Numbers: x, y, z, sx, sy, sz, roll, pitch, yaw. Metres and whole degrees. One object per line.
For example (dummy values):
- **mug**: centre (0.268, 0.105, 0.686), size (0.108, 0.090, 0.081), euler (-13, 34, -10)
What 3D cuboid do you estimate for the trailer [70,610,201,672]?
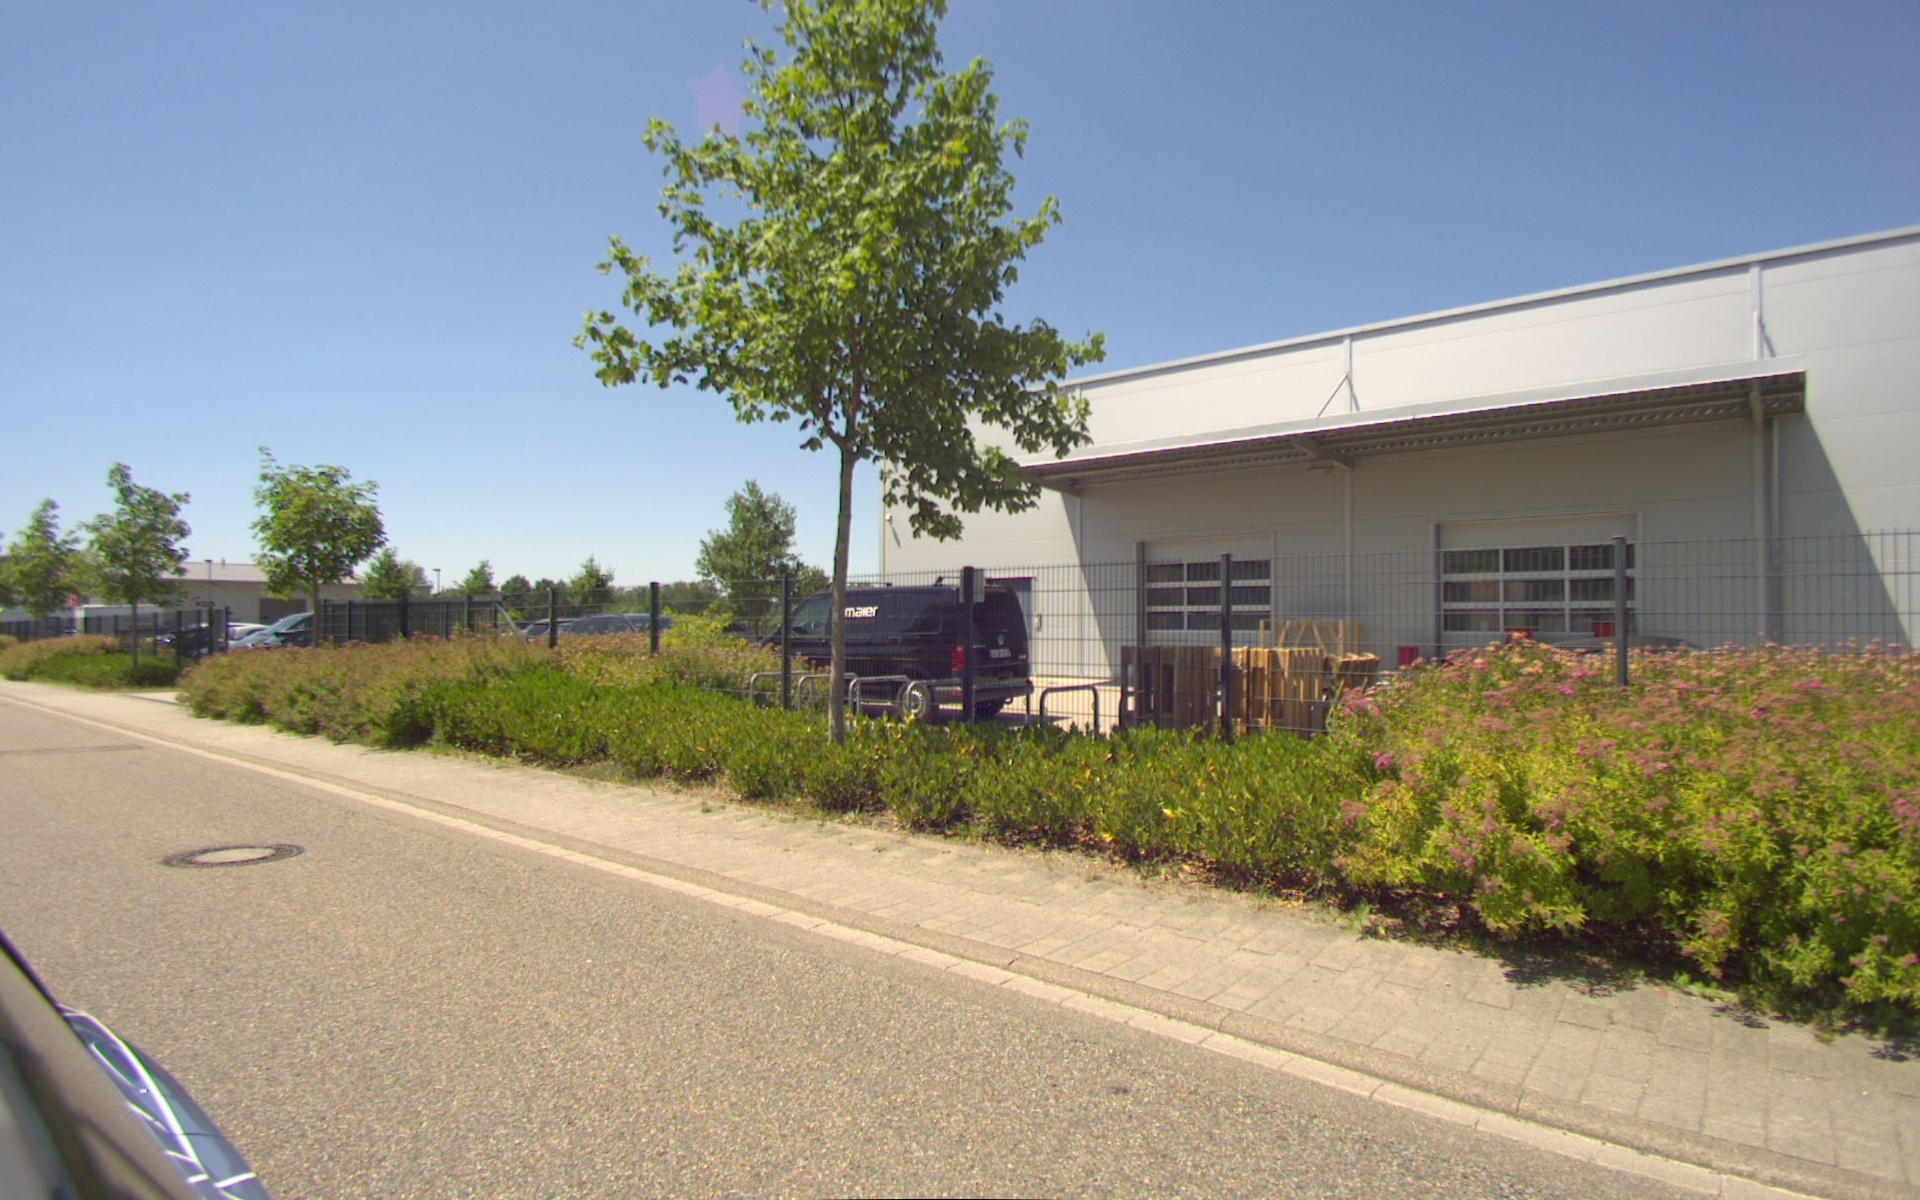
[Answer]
- **trailer**: centre (-34.353, 1.659, 42.255), size (1.724, 2.378, 3.950), euler (-2, 0, 37)

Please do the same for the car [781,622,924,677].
- **car**: centre (-3.179, 1.445, 30.553), size (1.998, 1.508, 4.048), euler (-2, -2, 40)

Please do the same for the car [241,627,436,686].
- **car**: centre (-17.224, 1.512, 28.204), size (1.962, 1.457, 4.262), euler (-2, -2, 39)

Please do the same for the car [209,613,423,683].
- **car**: centre (-18.962, 1.350, 30.003), size (1.962, 1.865, 5.009), euler (-2, -2, 39)

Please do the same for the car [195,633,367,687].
- **car**: centre (-21.246, 1.827, 31.787), size (1.903, 1.510, 4.151), euler (-2, -2, 39)

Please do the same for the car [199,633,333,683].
- **car**: centre (-23.181, 1.903, 33.884), size (1.903, 1.510, 3.337), euler (-2, -2, 39)

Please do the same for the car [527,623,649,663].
- **car**: centre (-14.370, 1.651, 39.256), size (1.879, 1.425, 4.066), euler (-2, -2, 39)

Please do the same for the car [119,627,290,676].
- **car**: centre (-27.461, 1.830, 36.909), size (1.999, 1.641, 4.684), euler (-2, -2, 40)

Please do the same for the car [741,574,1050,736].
- **car**: centre (-1.118, 0.751, 15.519), size (4.692, 2.114, 1.980), euler (-2, 0, 42)

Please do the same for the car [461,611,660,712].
- **car**: centre (-7.749, 1.108, 19.477), size (4.090, 1.736, 1.972), euler (-2, -2, 42)

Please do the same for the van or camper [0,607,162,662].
- **van or camper**: centre (-46.384, 1.786, 53.117), size (2.573, 2.704, 6.706), euler (-2, -3, 40)

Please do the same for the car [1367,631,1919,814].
- **car**: centre (6.049, 0.941, 9.200), size (3.998, 1.290, 1.777), euler (-2, -2, 42)
